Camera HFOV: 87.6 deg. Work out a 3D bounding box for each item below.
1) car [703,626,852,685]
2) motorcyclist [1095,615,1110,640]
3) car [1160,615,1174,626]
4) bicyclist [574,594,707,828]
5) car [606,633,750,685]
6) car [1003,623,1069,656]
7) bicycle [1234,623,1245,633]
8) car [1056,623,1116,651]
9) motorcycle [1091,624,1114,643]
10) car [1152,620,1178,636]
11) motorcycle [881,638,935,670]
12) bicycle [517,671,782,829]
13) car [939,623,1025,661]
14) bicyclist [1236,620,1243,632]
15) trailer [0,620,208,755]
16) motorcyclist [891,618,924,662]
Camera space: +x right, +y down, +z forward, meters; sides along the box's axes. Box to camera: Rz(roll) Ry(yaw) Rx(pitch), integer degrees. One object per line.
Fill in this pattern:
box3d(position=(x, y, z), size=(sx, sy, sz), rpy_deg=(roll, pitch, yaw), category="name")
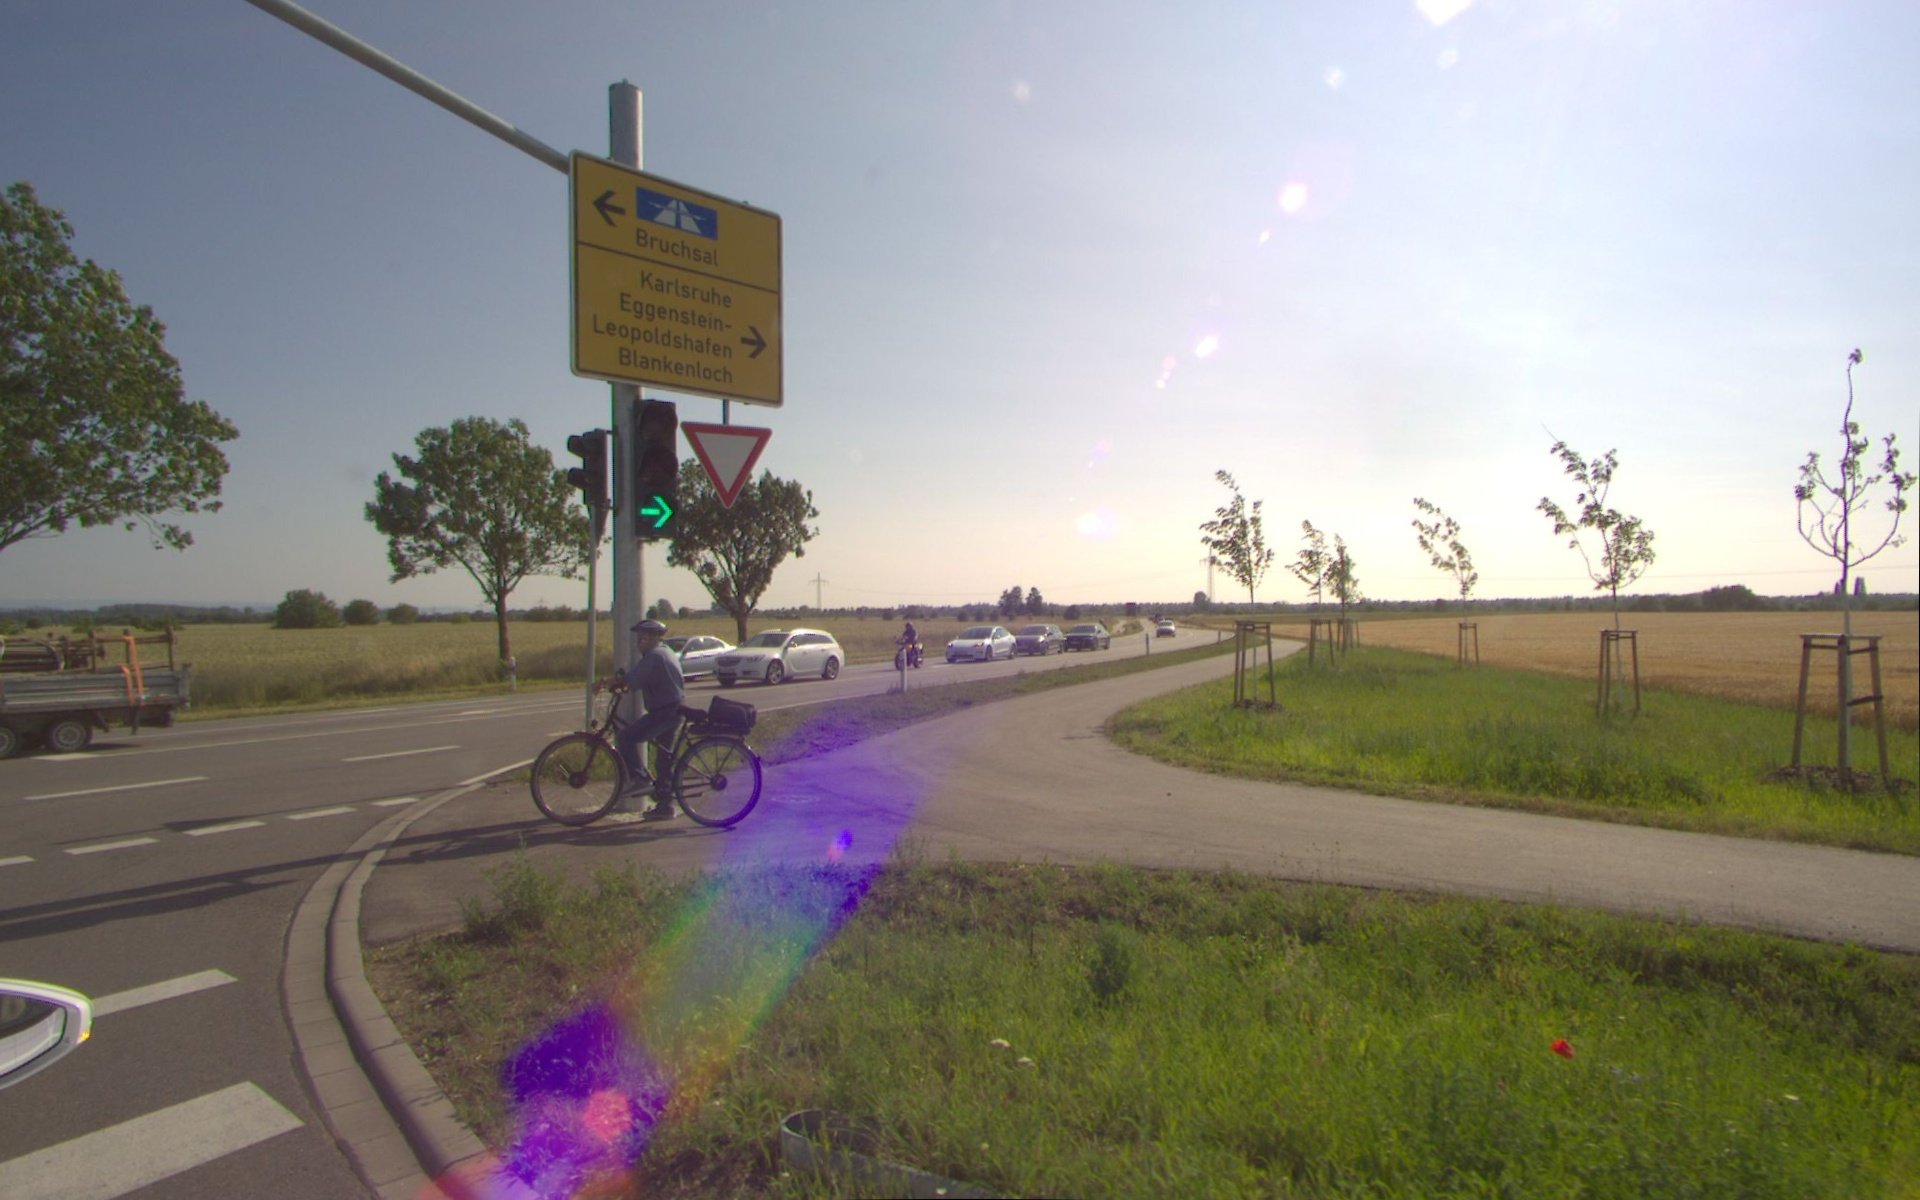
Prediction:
box3d(position=(-5.092, 1.534, 28.673), size=(1.737, 1.511, 4.692), rpy_deg=(-2, -2, 26), category="car")
box3d(position=(8.550, 1.648, 59.935), size=(0.669, 1.514, 0.844), rpy_deg=(-1, -1, 24), category="motorcyclist")
box3d(position=(38.899, 3.816, 188.129), size=(1.810, 1.857, 4.467), rpy_deg=(2, 0, 3), category="car")
box3d(position=(-2.542, 0.881, 8.060), size=(0.901, 1.787, 0.619), rpy_deg=(3, -2, -14), category="bicyclist")
box3d(position=(-8.623, 1.777, 30.997), size=(1.610, 1.394, 4.403), rpy_deg=(-3, -2, 29), category="car")
box3d(position=(3.740, 1.889, 48.630), size=(1.865, 1.480, 4.294), rpy_deg=(-1, -2, 24), category="car")
box3d(position=(34.999, 3.505, 125.504), size=(0.831, 1.157, 2.207), rpy_deg=(1, -1, 1), category="bicycle")
box3d(position=(6.980, 2.012, 54.975), size=(1.866, 1.454, 4.782), rpy_deg=(-1, -2, 25), category="car")
box3d(position=(8.513, 1.997, 59.907), size=(0.859, 1.087, 1.963), rpy_deg=(-1, -1, 24), category="motorcycle")
box3d(position=(18.656, 2.534, 90.924), size=(1.663, 1.421, 3.992), rpy_deg=(-2, -2, 20), category="car")
box3d(position=(-1.831, 1.909, 35.924), size=(0.885, 1.057, 2.421), rpy_deg=(-1, -1, 25), category="motorcycle")
box3d(position=(-2.451, 1.197, 8.081), size=(1.910, 1.165, 0.681), rpy_deg=(3, -3, -15), category="bicycle")
box3d(position=(0.986, 1.739, 42.161), size=(1.867, 1.485, 4.259), rpy_deg=(-2, -2, 28), category="car")
box3d(position=(35.012, 3.270, 125.544), size=(0.627, 1.476, 0.817), rpy_deg=(1, 0, 1), category="bicyclist")
box3d(position=(-13.514, 1.188, 13.541), size=(1.952, 1.760, 4.990), rpy_deg=(-2, -2, 29), category="trailer")
box3d(position=(-1.867, 1.439, 35.887), size=(0.670, 1.535, 1.177), rpy_deg=(-1, -1, 26), category="motorcyclist")
